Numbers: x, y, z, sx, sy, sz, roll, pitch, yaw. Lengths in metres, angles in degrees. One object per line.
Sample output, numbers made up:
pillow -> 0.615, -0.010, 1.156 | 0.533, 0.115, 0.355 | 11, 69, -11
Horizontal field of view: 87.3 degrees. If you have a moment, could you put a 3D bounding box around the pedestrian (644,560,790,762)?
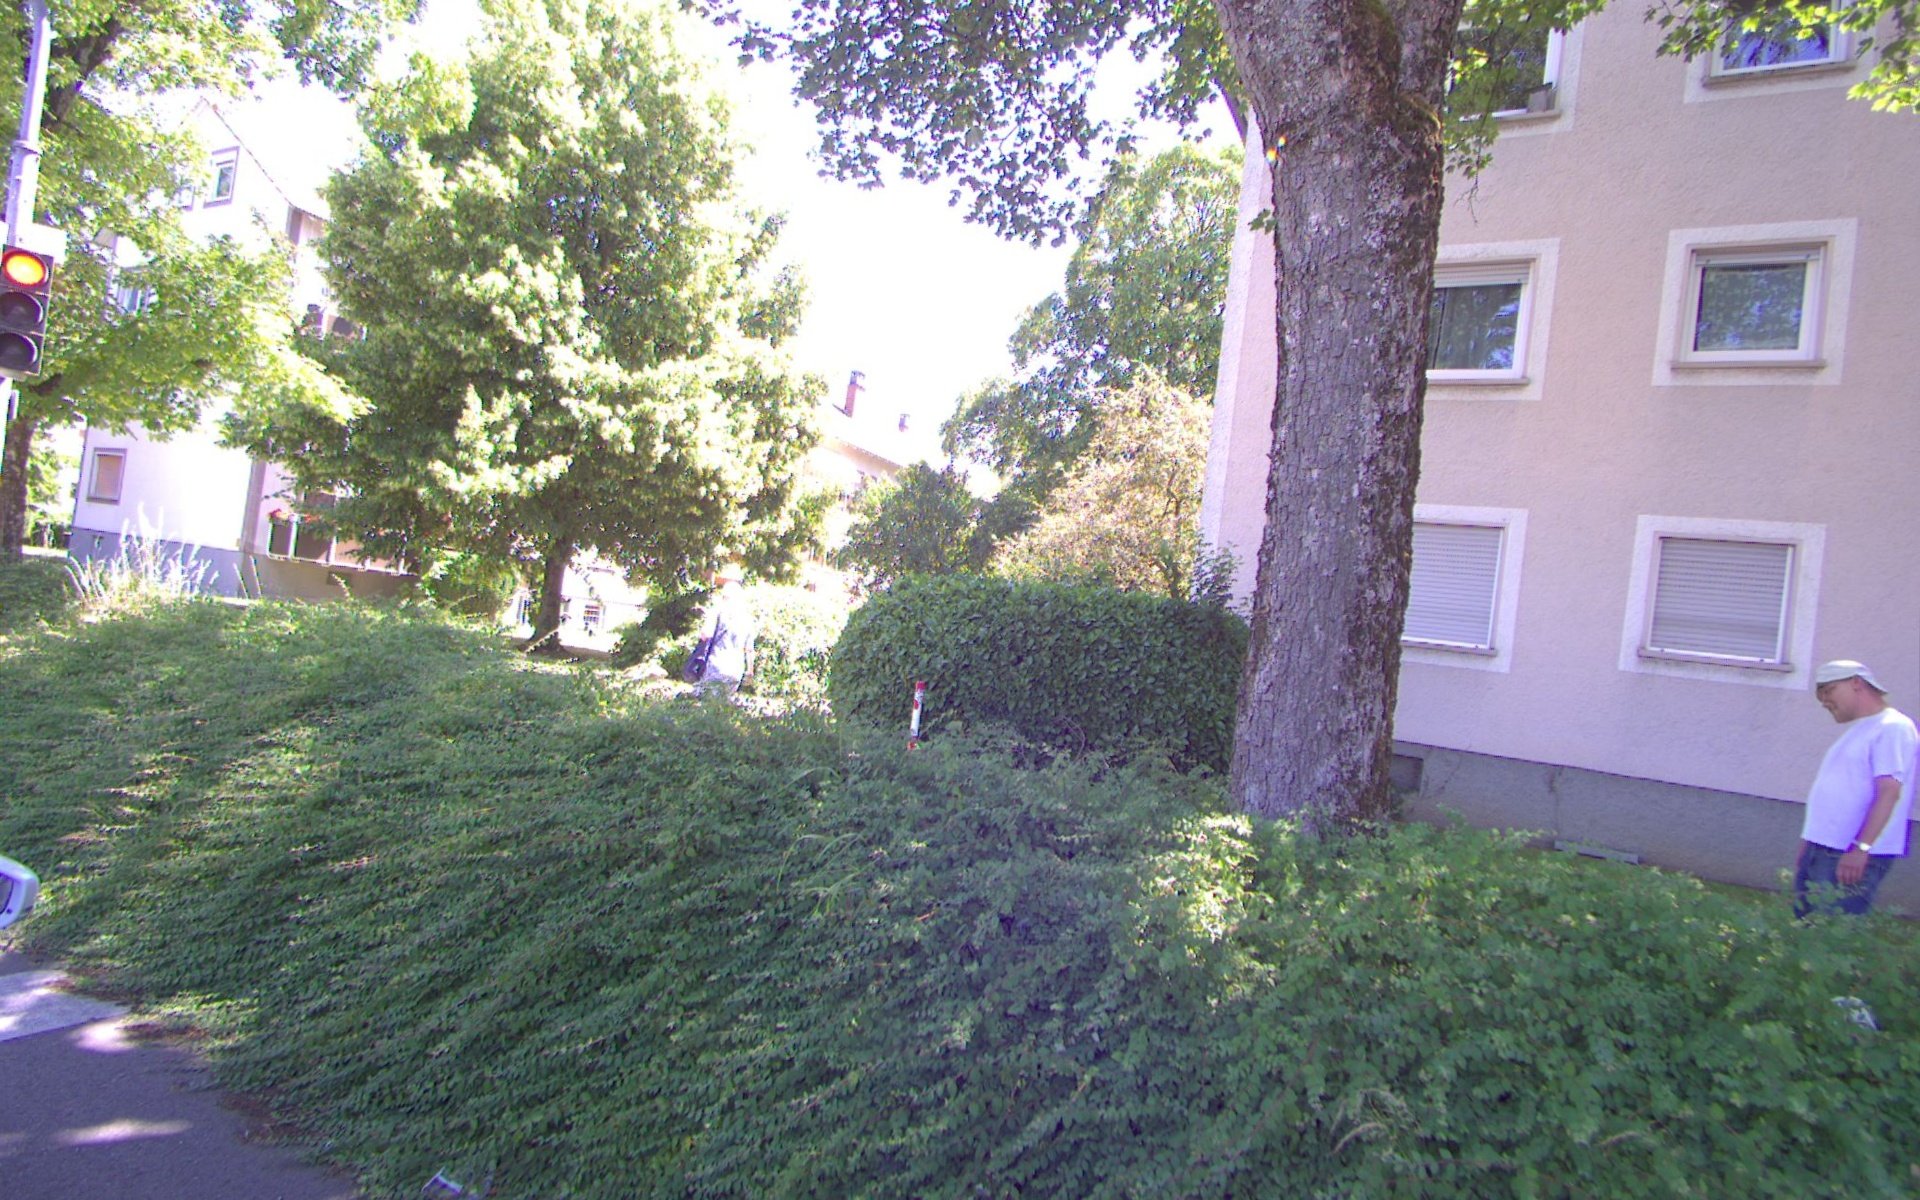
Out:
pedestrian -> -2.176, 0.541, 9.052 | 0.836, 1.653, 0.720 | 7, 0, 23

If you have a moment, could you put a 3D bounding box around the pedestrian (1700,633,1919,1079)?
pedestrian -> 4.279, 1.176, 4.781 | 0.886, 1.893, 0.676 | 7, -3, 10
